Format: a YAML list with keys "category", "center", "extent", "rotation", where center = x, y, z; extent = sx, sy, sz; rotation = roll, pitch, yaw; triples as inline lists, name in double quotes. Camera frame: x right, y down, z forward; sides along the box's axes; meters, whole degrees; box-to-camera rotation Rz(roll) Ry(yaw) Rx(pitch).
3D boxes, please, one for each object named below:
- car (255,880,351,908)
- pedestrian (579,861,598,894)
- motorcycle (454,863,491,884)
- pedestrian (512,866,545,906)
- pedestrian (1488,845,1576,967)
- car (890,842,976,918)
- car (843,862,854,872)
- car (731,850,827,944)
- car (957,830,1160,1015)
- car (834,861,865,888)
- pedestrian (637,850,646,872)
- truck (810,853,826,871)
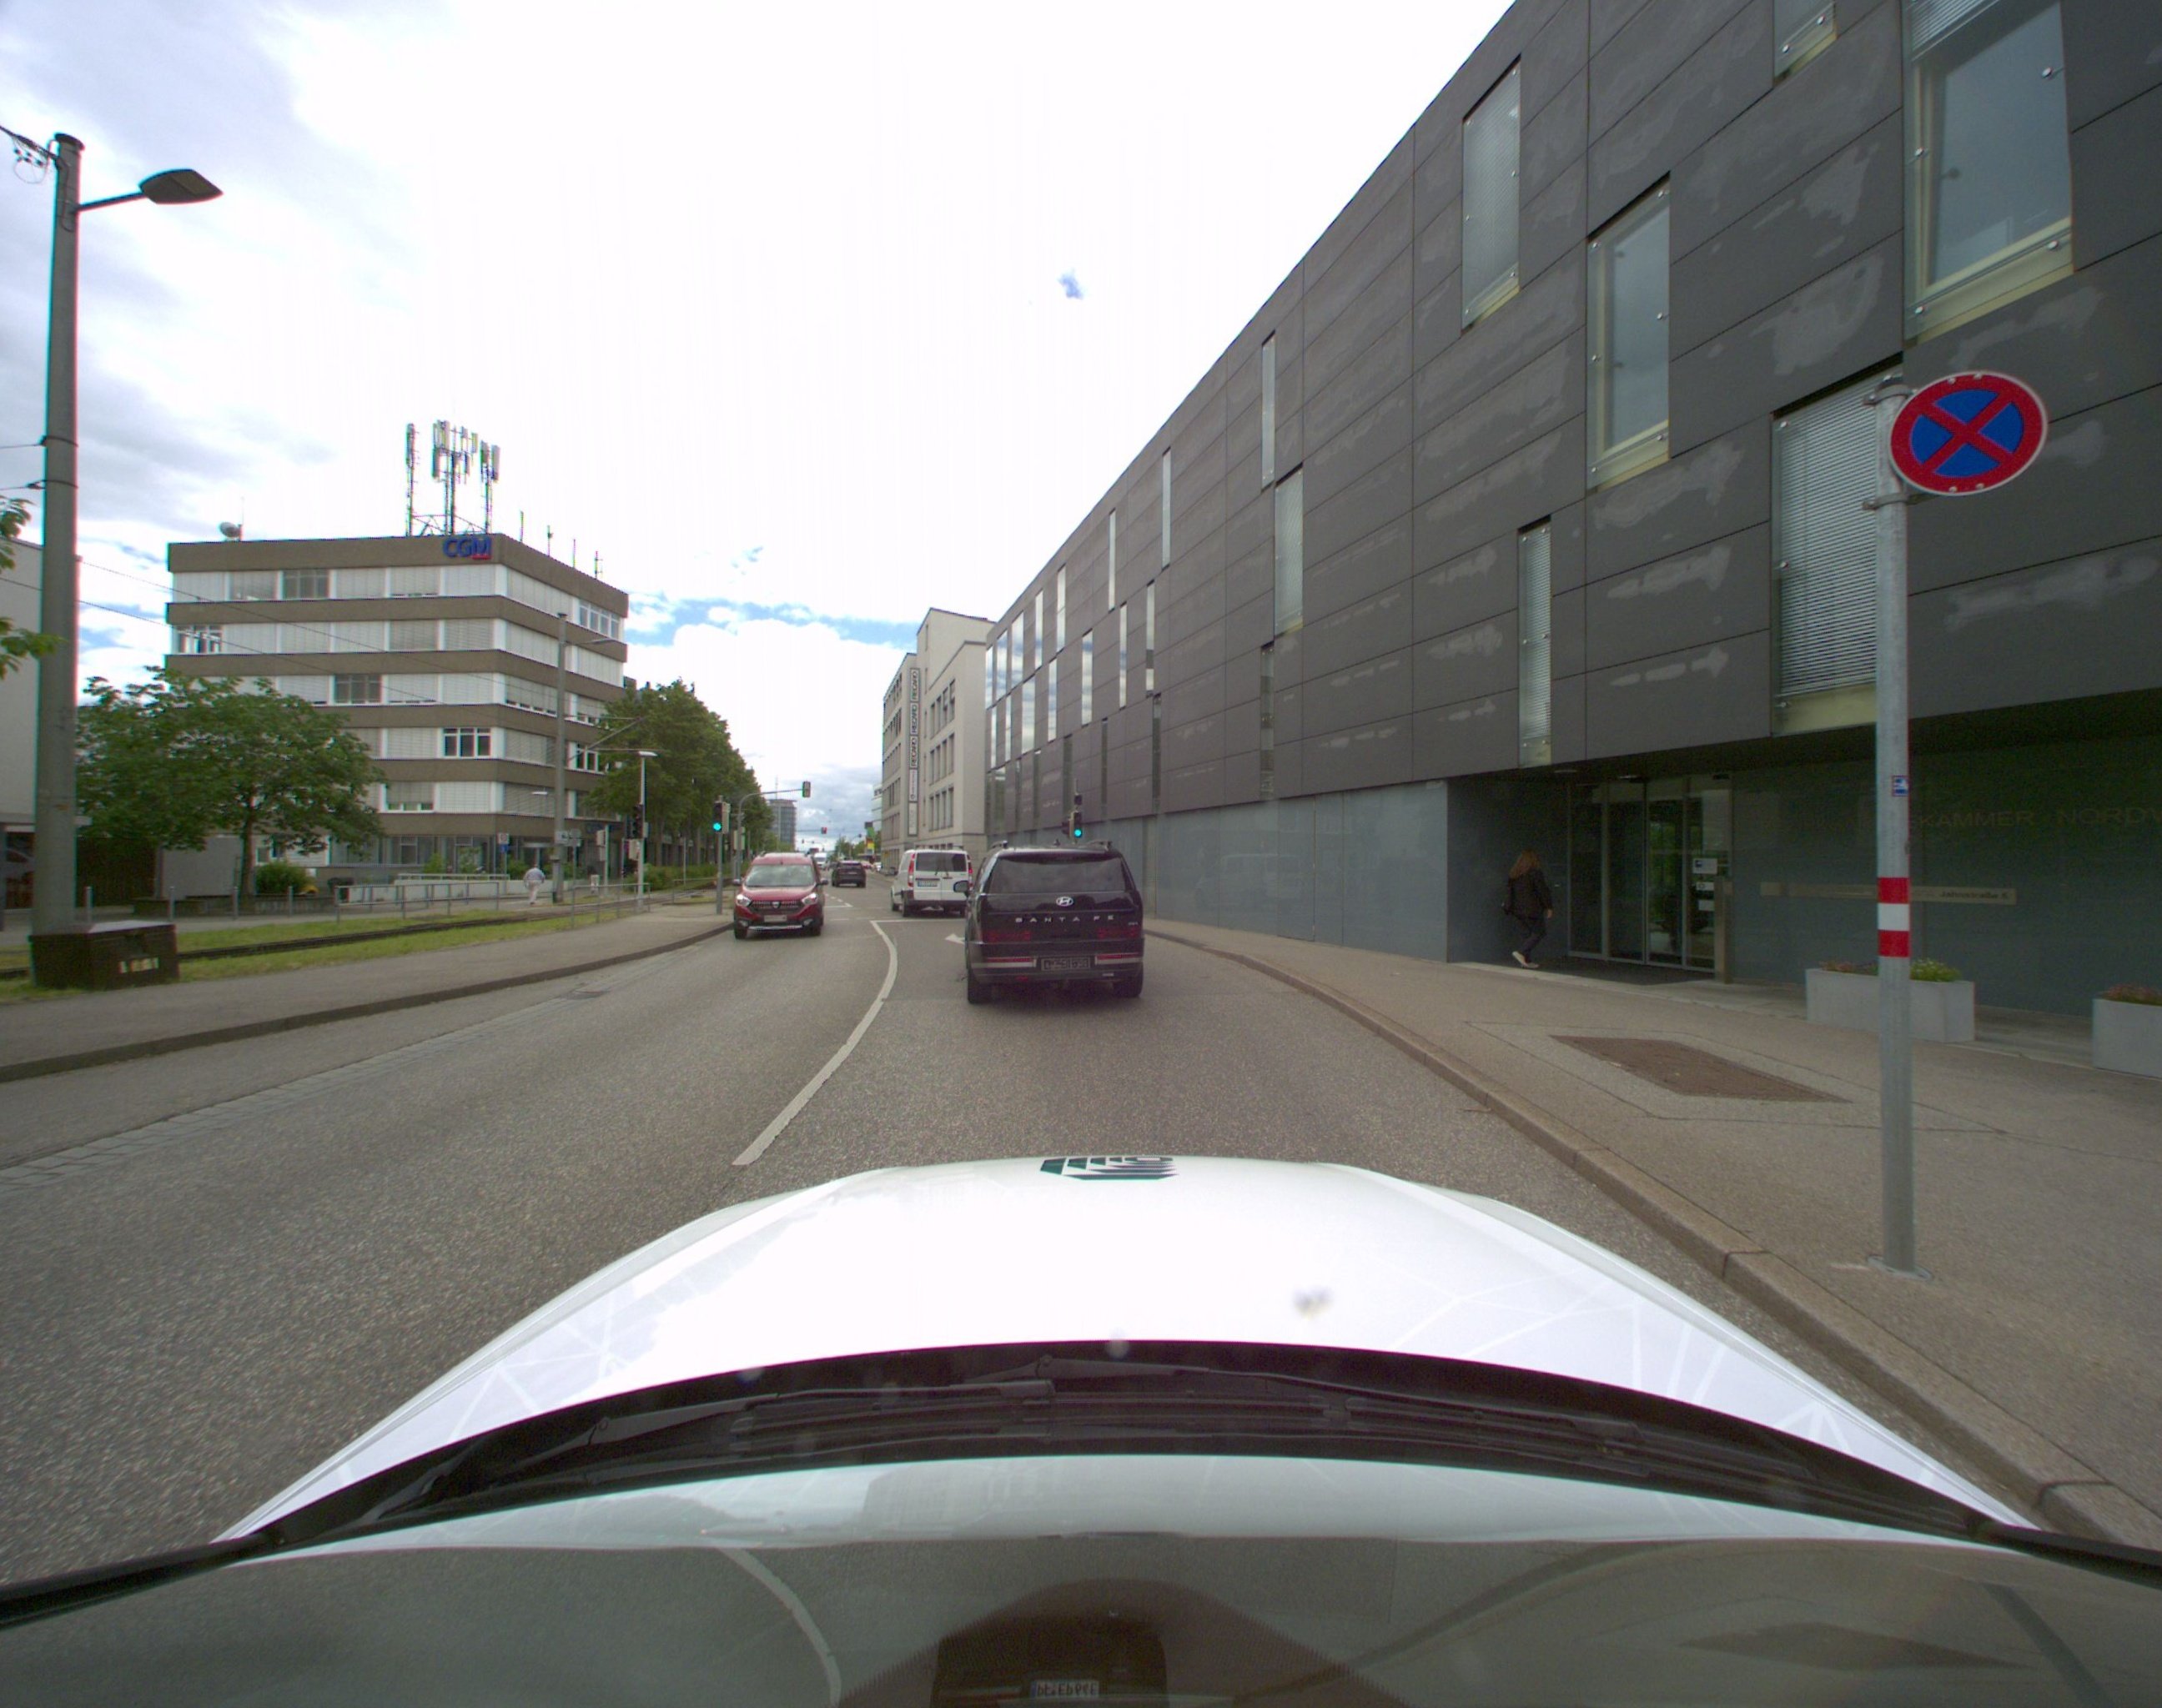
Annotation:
- category: "car"
  center: [-45.568, 2.302, 47.823]
  extent: [1.719, 1.425, 4.001]
  rotation: [-2, -1, 2]
- category: "pedestrian"
  center: [-26.192, 1.251, 43.346]
  extent: [0.689, 1.705, 0.678]
  rotation: [-1, -1, -17]
- category: "motorcycle"
  center: [-36.319, 1.154, 48.610]
  extent: [1.870, 1.199, 0.569]
  rotation: [0, -1, 4]
- category: "pedestrian"
  center: [-21.907, 1.251, 32.307]
  extent: [0.850, 1.526, 0.989]
  rotation: [-1, -1, -21]
- category: "pedestrian"
  center: [6.467, 0.730, 11.708]
  extent: [0.861, 1.694, 0.713]
  rotation: [0, -1, -4]
- category: "car"
  center: [-4.471, 0.713, 24.051]
  extent: [1.937, 1.994, 4.507]
  rotation: [1, -1, -18]
- category: "car"
  center: [-37.945, 2.053, 132.899]
  extent: [1.763, 1.609, 4.165]
  rotation: [0, -1, -16]
- category: "car"
  center: [-6.653, 0.874, 18.300]
  extent: [1.685, 1.808, 4.327]
  rotation: [-1, 0, -17]
- category: "car"
  center: [-0.528, 0.665, 10.038]
  extent: [1.909, 1.749, 4.382]
  rotation: [0, -1, -10]
- category: "car"
  center: [-14.518, 1.247, 51.253]
  extent: [1.762, 1.609, 4.166]
  rotation: [0, -1, -15]
- category: "pedestrian"
  center: [-41.068, 0.660, 76.060]
  extent: [0.683, 2.014, 0.567]
  rotation: [0, -1, -20]
- category: "truck"
  center: [-40.456, 1.254, 125.195]
  extent: [2.172, 2.616, 5.757]
  rotation: [0, -1, -20]
